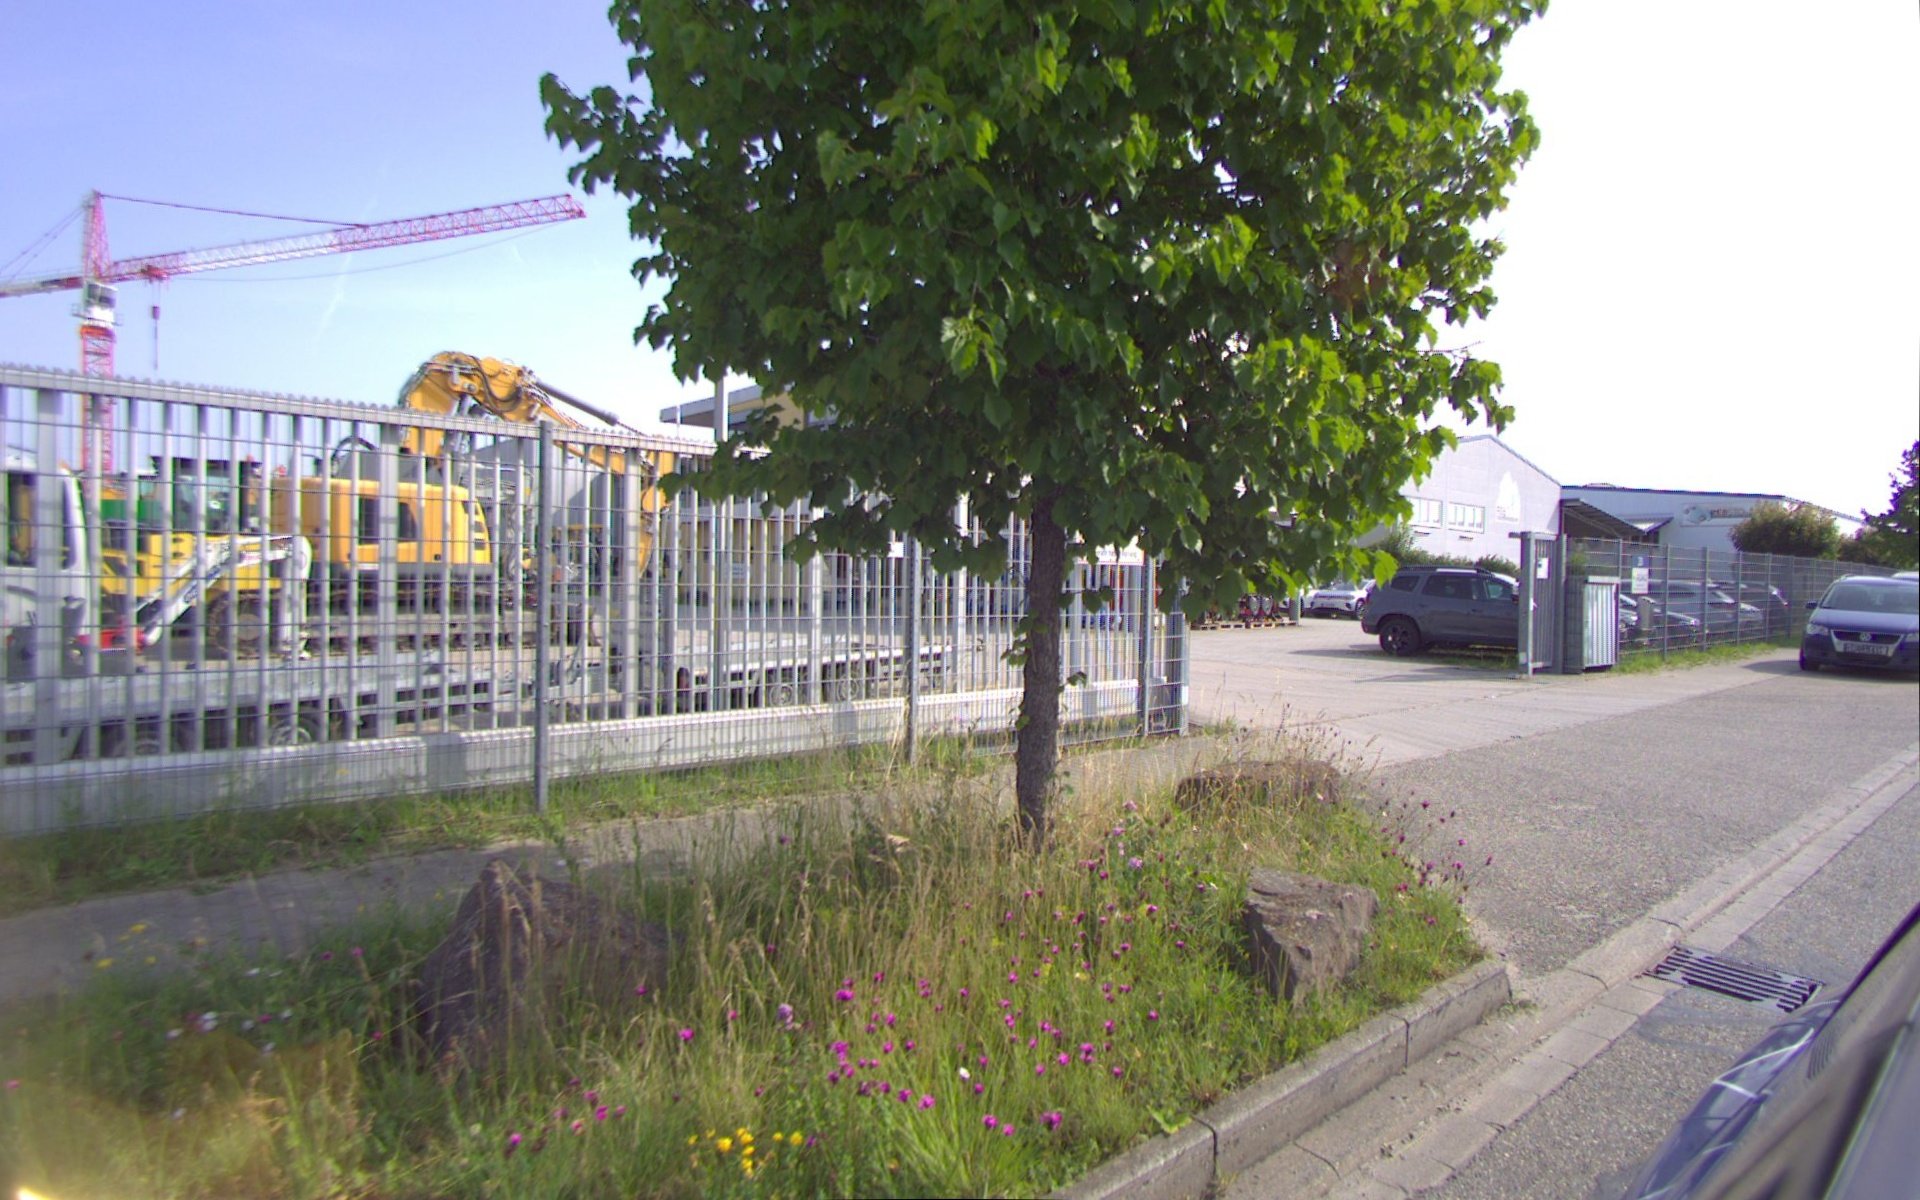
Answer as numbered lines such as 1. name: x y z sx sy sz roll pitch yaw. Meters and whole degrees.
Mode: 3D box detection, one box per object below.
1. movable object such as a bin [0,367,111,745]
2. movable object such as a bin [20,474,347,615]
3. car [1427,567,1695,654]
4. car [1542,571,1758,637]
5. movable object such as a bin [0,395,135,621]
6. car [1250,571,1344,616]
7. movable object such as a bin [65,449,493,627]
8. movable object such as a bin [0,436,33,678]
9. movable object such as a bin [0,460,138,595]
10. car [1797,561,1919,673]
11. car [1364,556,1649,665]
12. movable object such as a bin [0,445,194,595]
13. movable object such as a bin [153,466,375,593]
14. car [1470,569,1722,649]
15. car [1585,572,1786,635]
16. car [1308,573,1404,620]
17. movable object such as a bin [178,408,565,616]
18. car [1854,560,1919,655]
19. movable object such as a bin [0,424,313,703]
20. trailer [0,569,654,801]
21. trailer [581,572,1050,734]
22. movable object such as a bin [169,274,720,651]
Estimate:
1. movable object such as a bin: -9.176 -0.351 6.954 5.067 2.786 1.891 0 2 -40
2. movable object such as a bin: -17.187 -1.136 22.683 5.591 2.803 2.058 0 2 -42
3. car: 11.871 0.147 20.196 1.867 1.514 4.230 1 1 -43
4. car: 16.449 0.038 24.244 1.761 1.388 3.991 0 2 -44
5. movable object such as a bin: -18.317 -1.640 18.000 5.616 3.921 2.690 0 2 -39
6. car: 13.779 -0.268 41.252 1.890 1.712 4.300 2 1 45
7. movable object such as a bin: -12.375 -1.003 18.755 6.239 2.749 2.705 0 2 -42
8. movable object such as a bin: -12.936 -0.493 10.099 5.243 2.522 2.929 0 2 -39
9. movable object such as a bin: -28.172 -2.120 29.760 6.041 3.827 2.454 -1 3 -44
10. car: 16.074 0.209 17.480 4.175 1.741 1.829 -1 2 -41
11. car: 9.847 0.099 18.437 4.224 1.759 1.870 2 2 43
12. movable object such as a bin: -25.877 -2.173 28.154 7.083 3.977 2.469 -1 3 -44
13. movable object such as a bin: -23.714 -2.296 34.657 5.925 3.977 2.720 -1 3 -44
14. car: 13.533 0.133 21.706 1.867 1.514 4.230 1 1 -43
15. car: 18.614 0.076 26.075 1.761 1.496 3.989 0 0 -44
16. car: 15.399 -0.150 39.268 1.890 1.712 4.300 2 1 45
17. movable object such as a bin: -13.021 -1.732 22.806 7.082 3.978 2.923 0 2 -42
18. car: 20.047 0.109 20.640 4.518 1.811 1.998 -1 2 -39
19. movable object such as a bin: -9.134 -0.355 9.843 4.674 2.489 1.999 0 2 -36
20. trailer: -4.677 0.446 7.463 4.219 1.259 1.948 0 2 -41
21. trailer: -1.366 0.382 10.590 4.482 1.327 1.998 -1 2 -39
22. movable object such as a bin: -8.250 -1.815 16.850 7.540 4.866 3.322 0 1 -42
